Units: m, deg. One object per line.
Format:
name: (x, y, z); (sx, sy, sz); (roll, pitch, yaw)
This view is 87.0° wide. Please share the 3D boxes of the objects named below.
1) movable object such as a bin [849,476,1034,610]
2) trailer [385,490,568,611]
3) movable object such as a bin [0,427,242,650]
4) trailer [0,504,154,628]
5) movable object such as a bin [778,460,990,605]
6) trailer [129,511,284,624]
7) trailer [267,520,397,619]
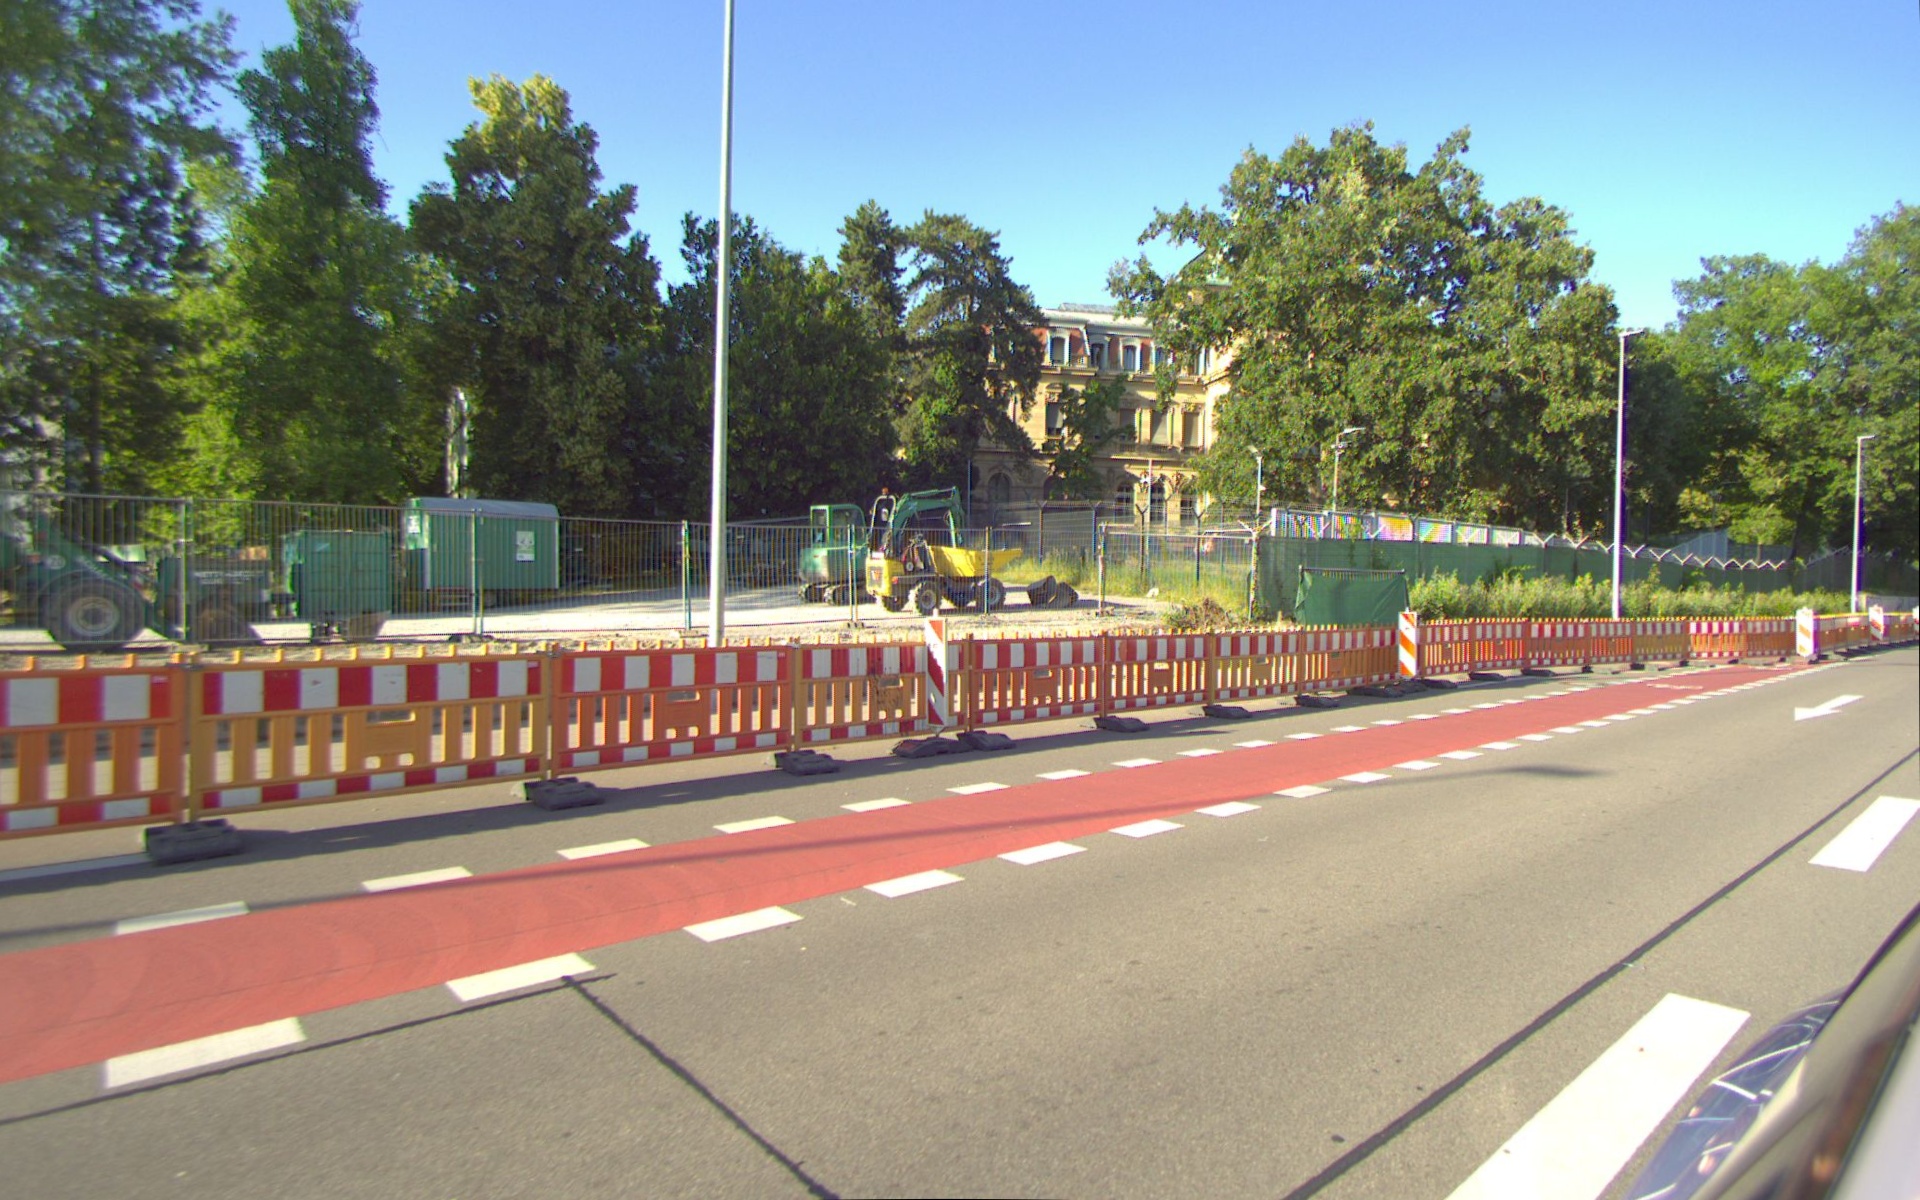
movable object such as a bin: (-0.415, -1.289, 24.172); (3.923, 2.940, 2.001); (0, 1, -34)
trailer: (-13.862, -1.494, 29.118); (3.925, 3.126, 2.611); (-7, 7, -44)
movable object such as a bin: (-12.546, -0.791, 13.314); (4.857, 2.737, 2.279); (0, 2, -42)
trailer: (-19.536, -0.827, 22.255); (2.190, 2.349, 5.035); (-7, 7, -44)
movable object such as a bin: (-2.012, -1.718, 27.809); (5.396, 3.602, 2.283); (0, 1, -37)
trailer: (-18.095, -0.857, 24.217); (2.190, 2.349, 5.035); (-7, 7, -44)
trailer: (-16.617, -0.859, 26.767); (2.190, 2.349, 2.949); (-7, 7, -44)
